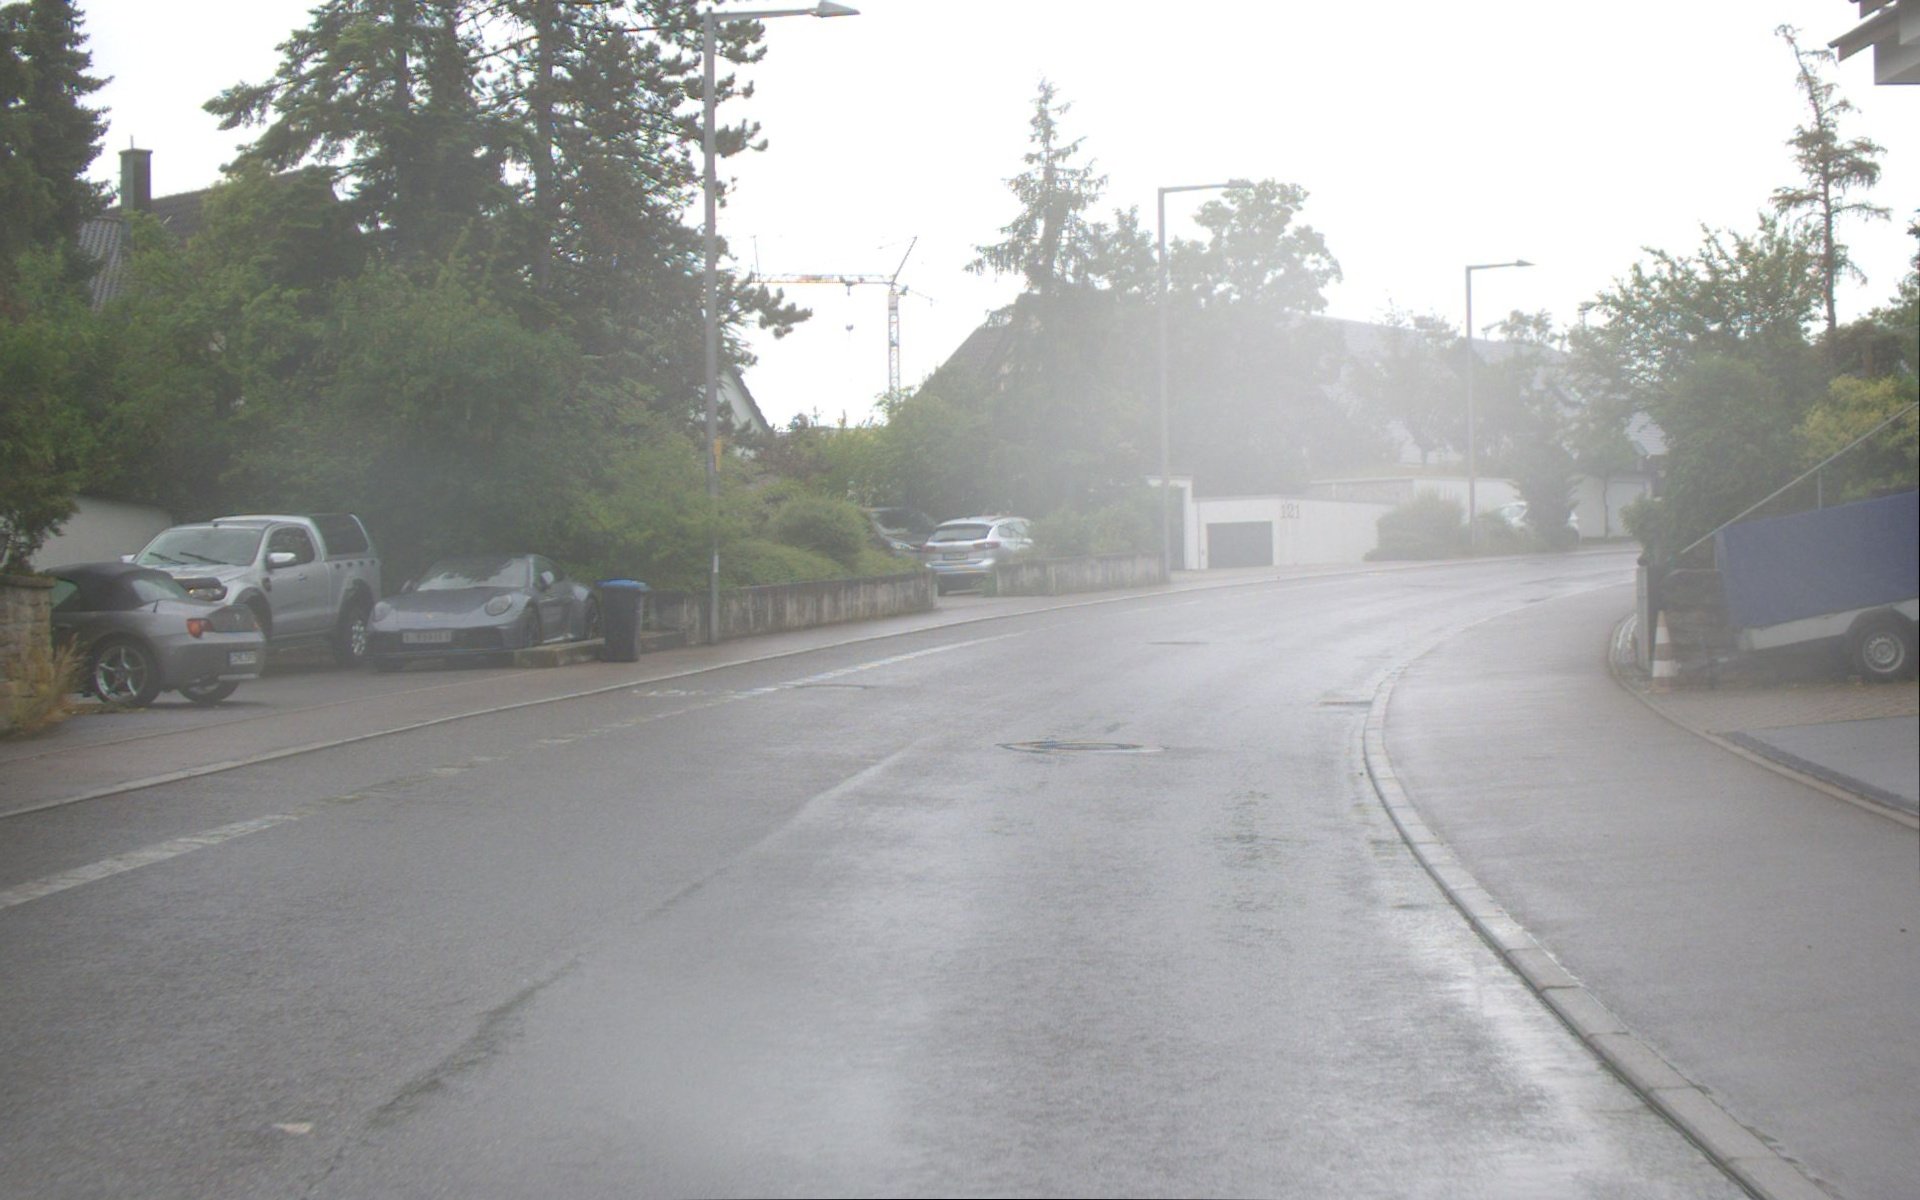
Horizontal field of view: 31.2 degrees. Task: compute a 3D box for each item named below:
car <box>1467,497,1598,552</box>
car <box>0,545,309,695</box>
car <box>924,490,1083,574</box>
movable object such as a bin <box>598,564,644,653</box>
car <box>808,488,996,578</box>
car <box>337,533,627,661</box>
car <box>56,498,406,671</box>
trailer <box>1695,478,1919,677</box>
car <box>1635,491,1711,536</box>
[{"bbox_3d":[17.387,-2.287,104.252,1.709,1.548,4.378,1,3,44],"label":"car"},{"bbox_3d":[-8.167,0.176,31.217,3.989,1.267,1.873,-1,1,15],"label":"car"},{"bbox_3d":[0.899,-1.363,68.187,1.736,1.546,3.996,-1,2,23],"label":"car"},{"bbox_3d":[-3.882,0.094,39.335,0.370,0.984,0.558,-2,1,8],"label":"movable object such as a bin"},{"bbox_3d":[-1.278,-1.442,74.635,1.994,1.831,3.999,-3,2,-39],"label":"car"},{"bbox_3d":[-5.480,-0.076,40.013,1.994,1.303,4.432,-2,1,11],"label":"car"},{"bbox_3d":[-8.374,-0.247,40.075,1.994,1.837,5.476,-1,2,11],"label":"car"},{"bbox_3d":[8.085,-0.227,31.715,2.354,1.742,2.000,-1,1,7],"label":"trailer"},{"bbox_3d":[24.194,-2.953,116.549,1.835,1.400,4.256,-1,2,21],"label":"car"}]
